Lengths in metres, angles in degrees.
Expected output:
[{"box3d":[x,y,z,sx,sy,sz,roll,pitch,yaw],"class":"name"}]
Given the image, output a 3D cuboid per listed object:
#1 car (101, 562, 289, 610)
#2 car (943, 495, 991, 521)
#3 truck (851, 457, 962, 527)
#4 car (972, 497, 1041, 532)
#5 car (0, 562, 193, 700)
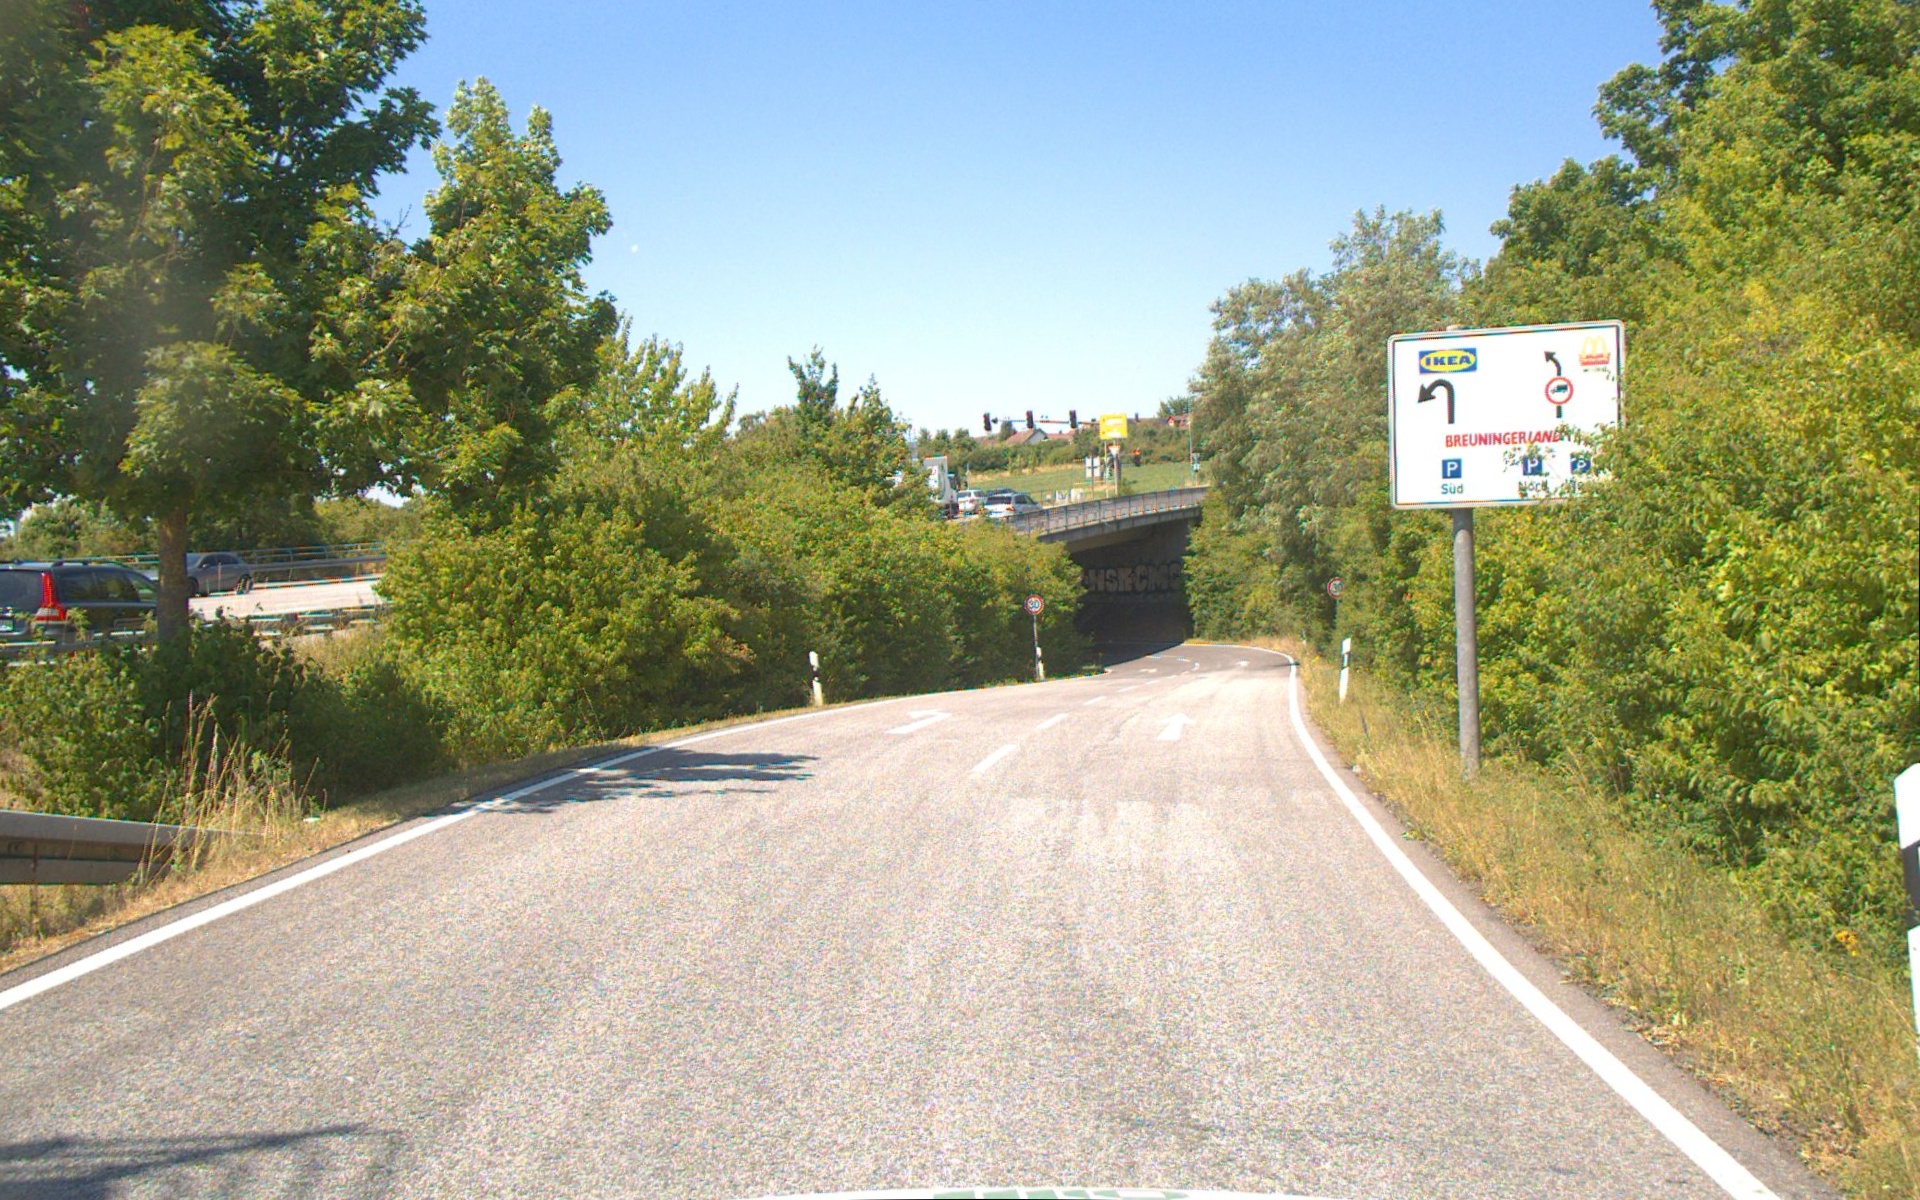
[{"box3d":[-24.949,-0.457,54.239,2.107,1.467,5.839,0,0,20],"class":"car"},{"box3d":[0.463,-5.682,102.650,1.857,1.387,4.002,-1,0,18],"class":"car"},{"box3d":[-2.963,-6.145,95.429,2.965,3.651,8.906,-3,2,21],"class":"truck"},{"box3d":[2.143,-3.881,75.383,1.952,1.445,4.002,-3,1,19],"class":"car"},{"box3d":[-11.626,0.373,21.424,1.699,1.572,4.726,-2,0,-8],"class":"car"}]
